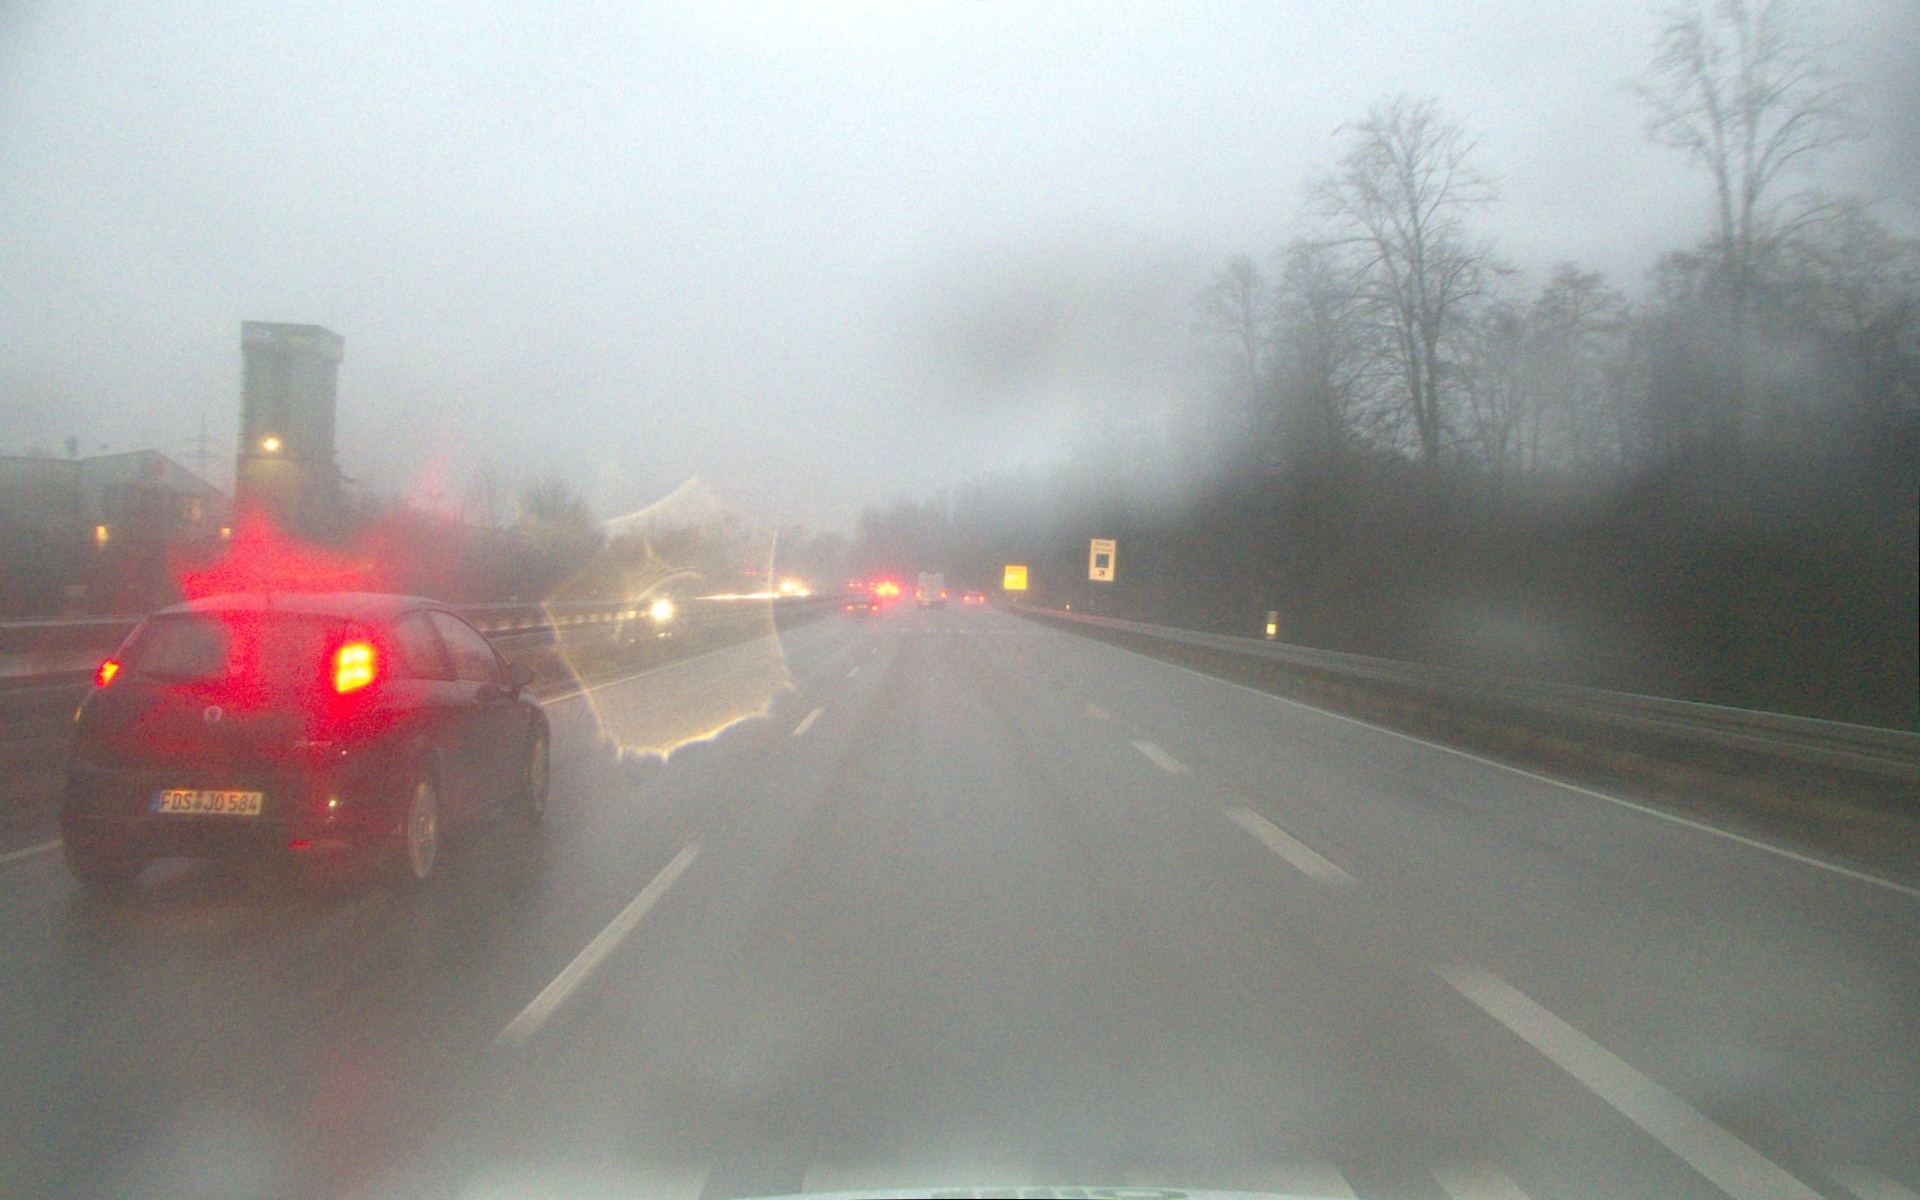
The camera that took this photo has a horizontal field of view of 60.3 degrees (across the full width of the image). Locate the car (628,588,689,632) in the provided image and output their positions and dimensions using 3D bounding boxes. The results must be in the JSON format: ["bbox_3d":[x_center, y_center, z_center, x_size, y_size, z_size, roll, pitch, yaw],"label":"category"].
[{"bbox_3d":[-11.754,0.367,64.716,1.705,1.668,3.999,0,0,-1],"label":"car"}]

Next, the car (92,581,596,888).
[{"bbox_3d":[-3.411,0.658,9.990,1.593,1.416,3.998,2,0,-2],"label":"car"}]

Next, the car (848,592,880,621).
[{"bbox_3d":[-4.698,0.323,81.386,1.387,1.340,3.082,2,0,-1],"label":"car"}]
